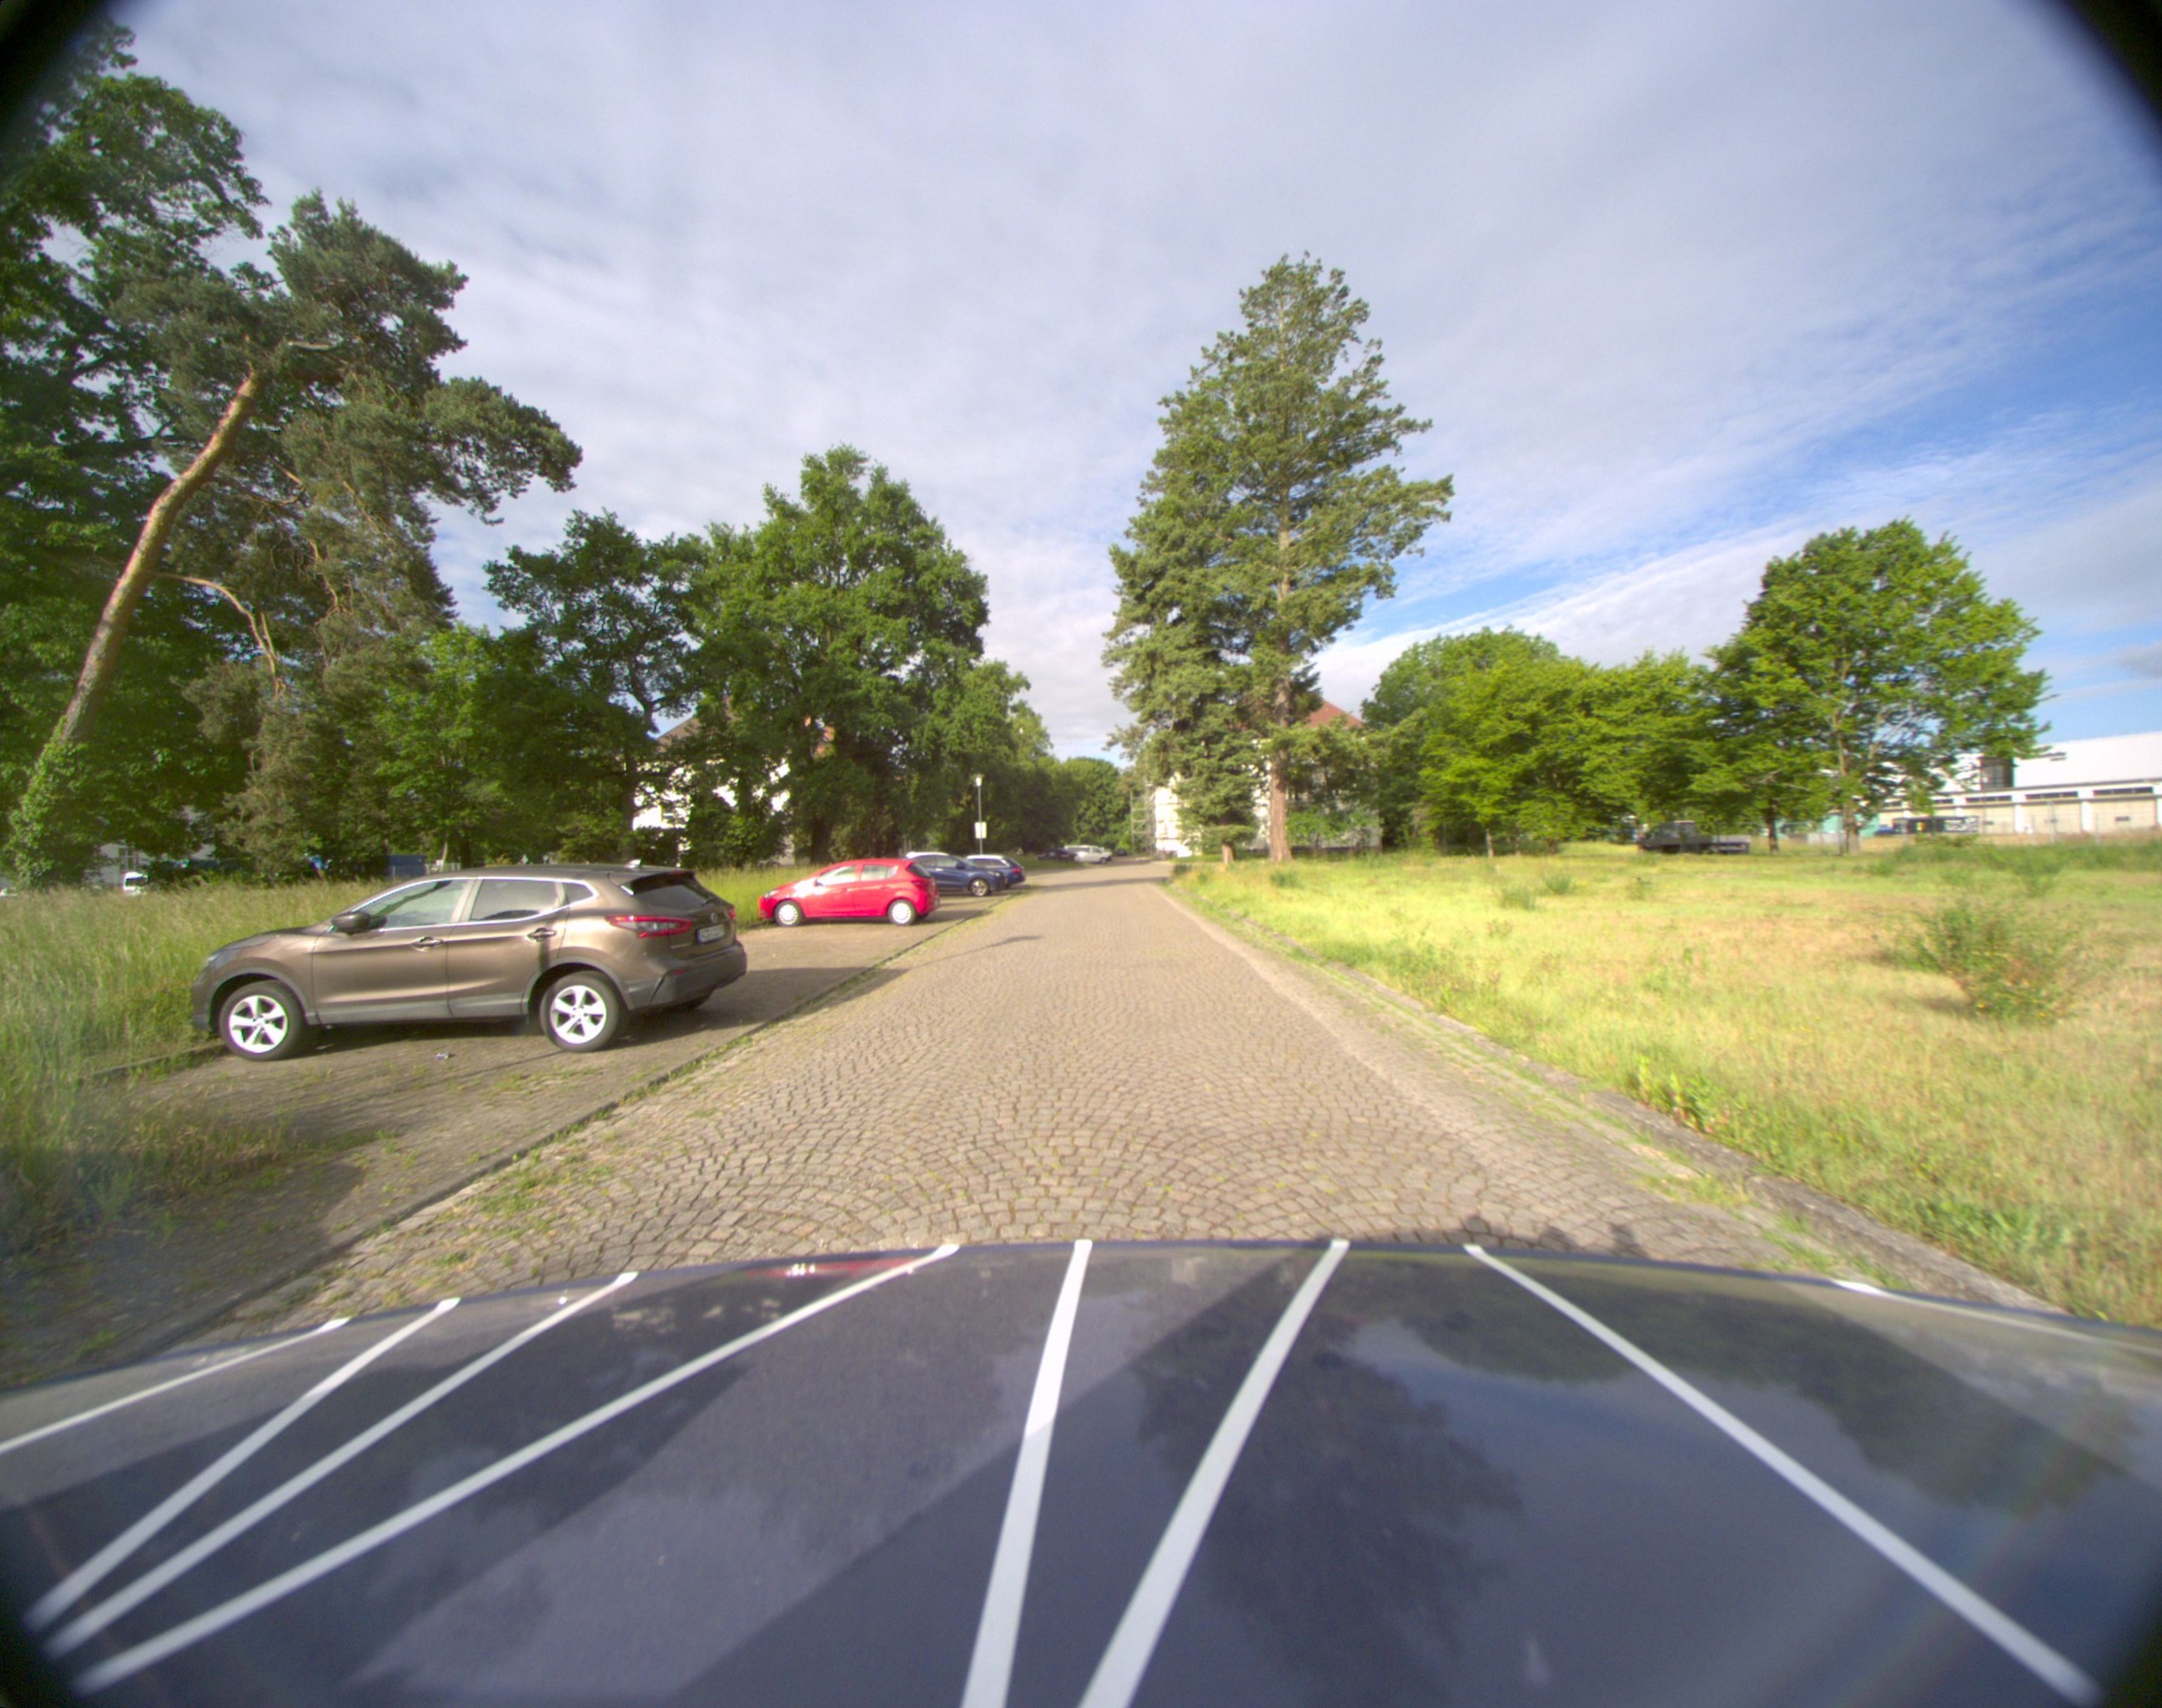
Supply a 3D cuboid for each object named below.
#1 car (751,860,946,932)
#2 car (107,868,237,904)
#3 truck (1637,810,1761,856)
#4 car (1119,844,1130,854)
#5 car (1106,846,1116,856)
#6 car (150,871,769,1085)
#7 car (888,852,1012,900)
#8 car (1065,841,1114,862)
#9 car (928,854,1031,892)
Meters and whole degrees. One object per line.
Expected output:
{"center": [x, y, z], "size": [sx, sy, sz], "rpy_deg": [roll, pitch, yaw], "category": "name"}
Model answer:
{"center": [-5.215, 0.924, 17.392], "size": [3.886, 1.464, 1.686], "rpy_deg": [-1, 2, 1], "category": "car"}
{"center": [-67.315, 2.284, 56.488], "size": [2.166, 2.286, 5.962], "rpy_deg": [-2, 1, 4], "category": "car"}
{"center": [38.090, -1.219, 47.198], "size": [2.417, 2.572, 6.960], "rpy_deg": [-2, 0, 4], "category": "truck"}
{"center": [8.453, -0.976, 147.287], "size": [1.998, 1.762, 4.108], "rpy_deg": [-2, 1, 2], "category": "car"}
{"center": [5.730, -0.635, 147.156], "size": [1.874, 1.888, 3.999], "rpy_deg": [-2, 1, 2], "category": "car"}
{"center": [-5.451, 1.041, 7.133], "size": [4.201, 1.580, 1.877], "rpy_deg": [-1, 2, 1], "category": "car"}
{"center": [-4.694, 0.771, 27.666], "size": [4.135, 1.560, 1.746], "rpy_deg": [-1, 2, 1], "category": "car"}
{"center": [0.954, -0.242, 81.166], "size": [5.078, 2.029, 2.000], "rpy_deg": [-2, 1, 1], "category": "car"}
{"center": [-4.253, 0.784, 32.354], "size": [4.035, 1.442, 1.783], "rpy_deg": [-1, 2, 4], "category": "car"}
